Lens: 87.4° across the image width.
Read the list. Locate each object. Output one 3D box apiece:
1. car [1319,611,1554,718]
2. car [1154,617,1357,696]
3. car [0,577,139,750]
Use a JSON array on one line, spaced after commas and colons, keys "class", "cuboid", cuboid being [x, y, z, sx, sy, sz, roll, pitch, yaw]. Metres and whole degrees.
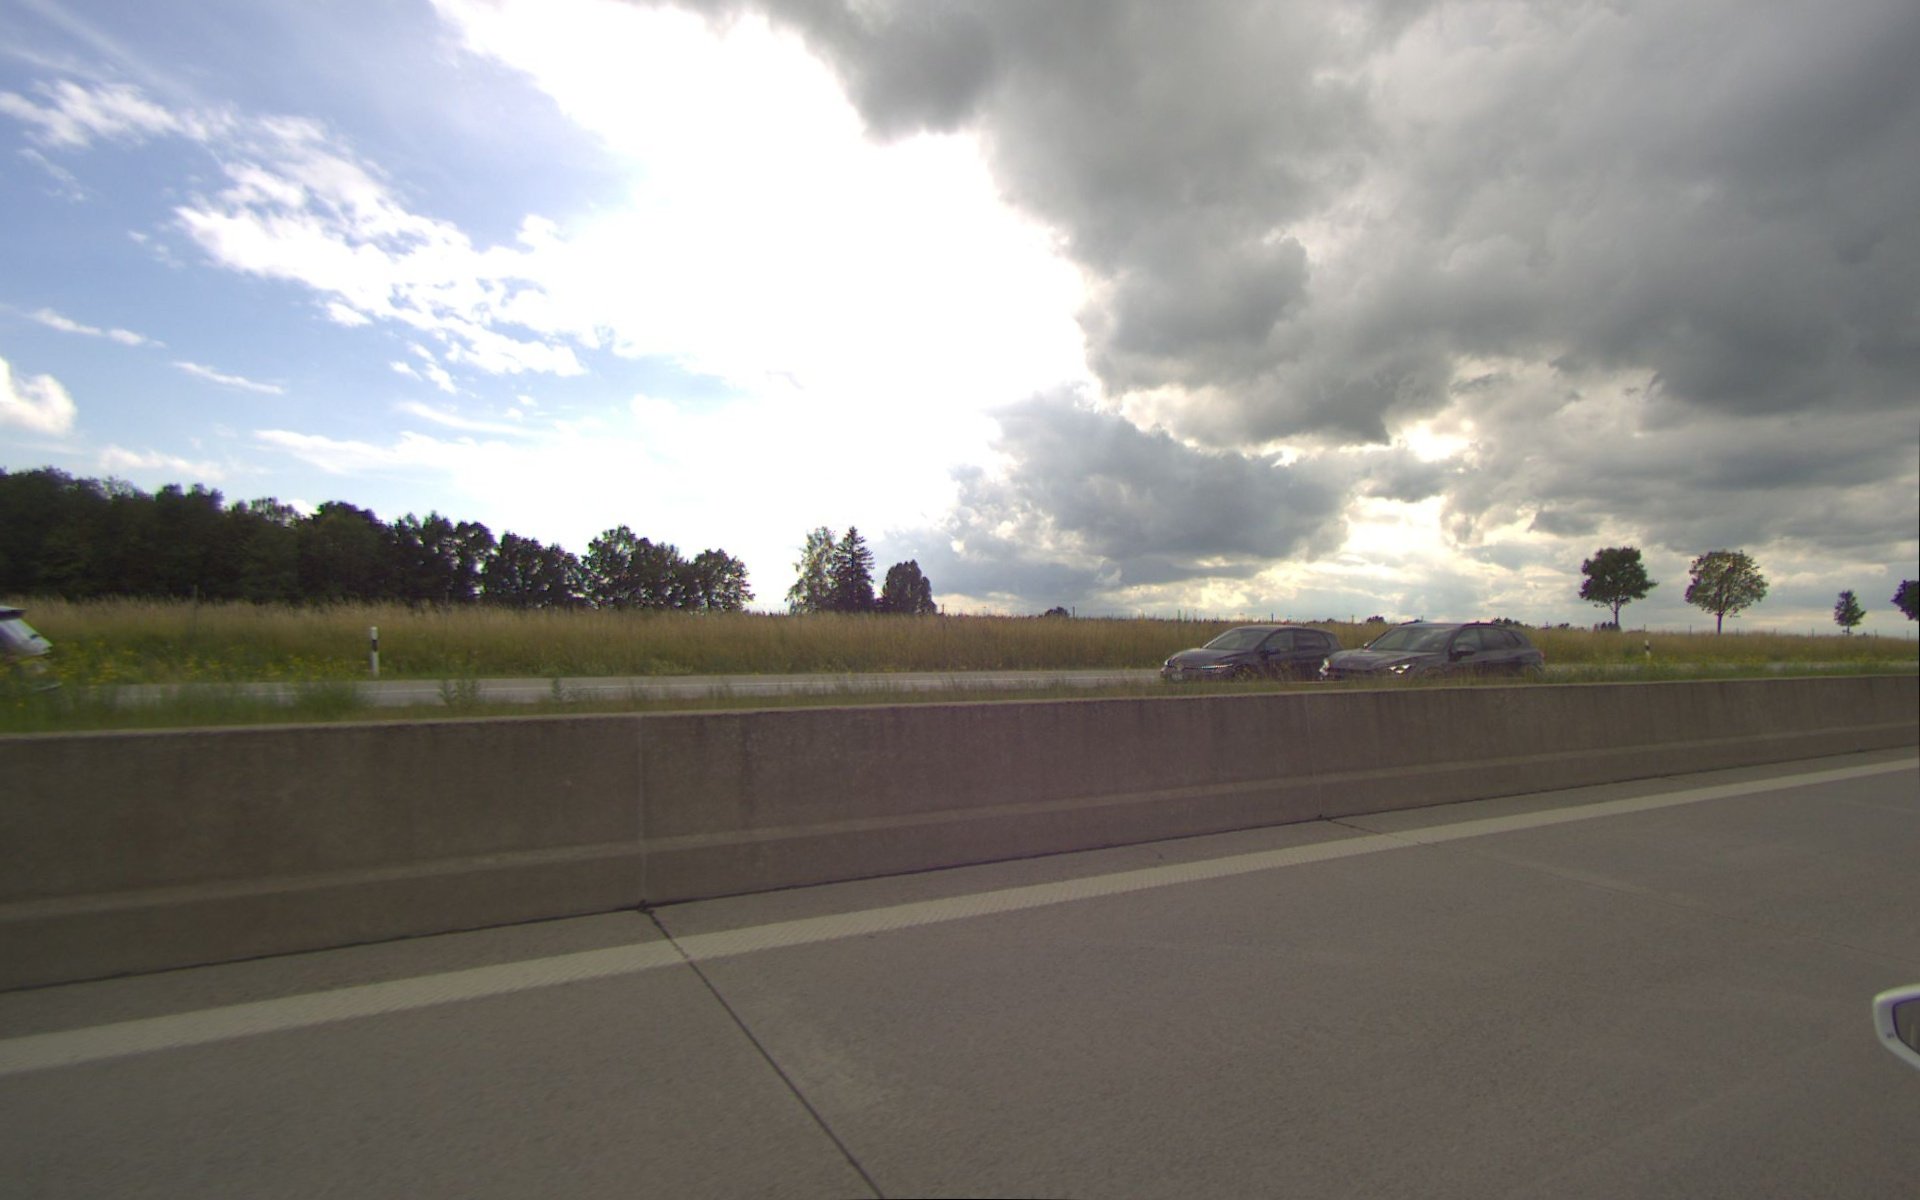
[{"class": "car", "cuboid": [8.146, 1.047, 17.107, 3.953, 1.631, 1.681, 2, -1, -30]}, {"class": "car", "cuboid": [5.936, 1.087, 20.074, 3.953, 1.417, 1.654, 2, -1, -30]}, {"class": "car", "cuboid": [-11.105, 0.603, 10.161, 4.015, 1.706, 1.984, 2, -1, -30]}]
